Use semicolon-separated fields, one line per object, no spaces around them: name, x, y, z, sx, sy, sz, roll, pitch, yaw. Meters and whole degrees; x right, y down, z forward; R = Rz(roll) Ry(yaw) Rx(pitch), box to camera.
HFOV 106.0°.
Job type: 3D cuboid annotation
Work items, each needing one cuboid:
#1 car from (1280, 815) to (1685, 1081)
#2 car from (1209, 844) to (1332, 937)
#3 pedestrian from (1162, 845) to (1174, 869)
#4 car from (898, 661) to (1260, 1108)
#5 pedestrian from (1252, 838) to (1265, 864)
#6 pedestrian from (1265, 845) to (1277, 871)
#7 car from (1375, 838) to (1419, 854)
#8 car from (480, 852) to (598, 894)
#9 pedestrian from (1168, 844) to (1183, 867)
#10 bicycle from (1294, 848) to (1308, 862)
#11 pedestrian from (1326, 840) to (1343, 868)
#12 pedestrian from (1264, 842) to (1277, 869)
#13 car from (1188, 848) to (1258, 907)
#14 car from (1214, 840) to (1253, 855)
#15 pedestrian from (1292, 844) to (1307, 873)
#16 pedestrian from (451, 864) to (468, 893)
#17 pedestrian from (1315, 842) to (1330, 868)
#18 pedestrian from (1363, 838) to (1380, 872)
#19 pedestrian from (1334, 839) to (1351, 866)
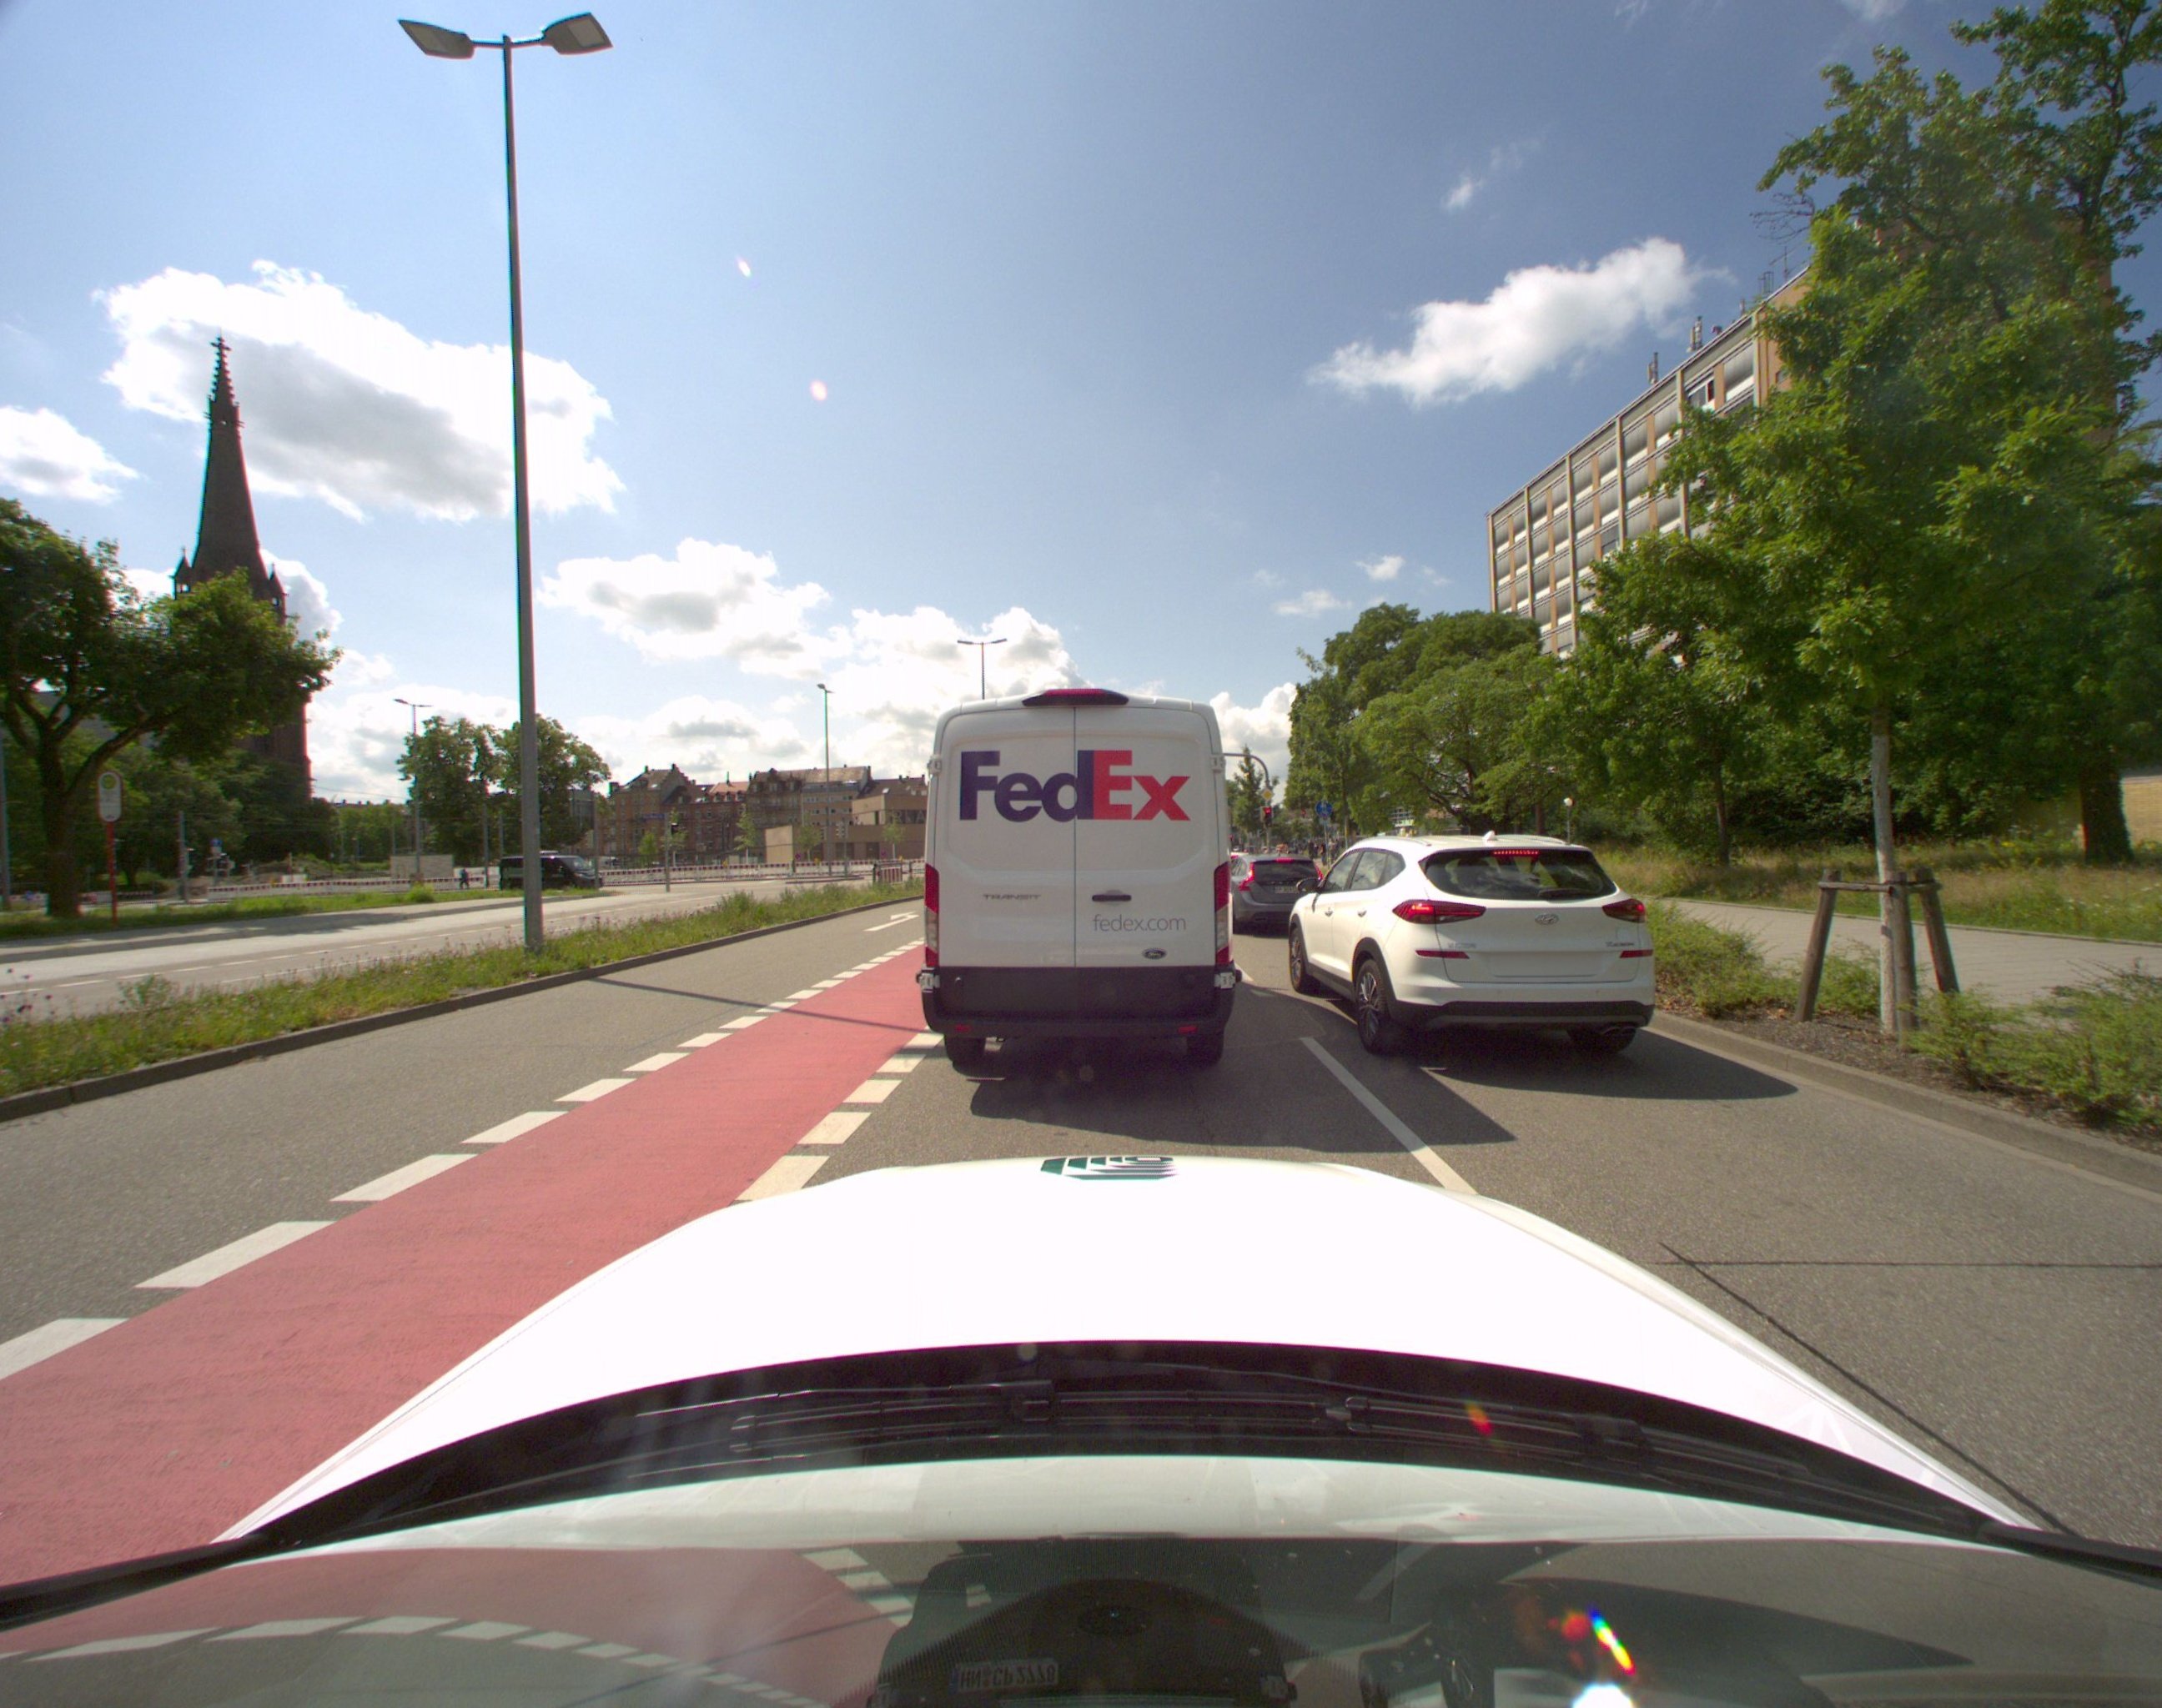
car;3.072;0.597;7.252;1.807;1.678;3.978;-2;0;3
car;3.549;0.617;15.861;1.684;1.549;3.724;-2;0;3
pedestrian;6.869;0.204;64.192;0.756;1.849;0.816;-2;0;-1
car;0.111;0.175;7.025;2.064;2.581;4.432;-2;0;3
pedestrian;13.001;-0.212;59.726;0.810;1.849;0.762;-2;0;5
pedestrian;13.712;0.310;58.884;0.753;1.849;0.820;-2;0;16
car;56.390;-1.420;145.255;7.063;2.717;2.487;0;-1;-11
car;-30.176;1.026;45.478;4.989;2.175;2.153;-2;0;-2
pedestrian;7.800;0.108;67.174;0.765;1.849;0.807;-2;0;-37
bicycle;25.404;0.140;93.884;1.414;1.464;4.330;-2;0;17
pedestrian;17.183;-0.012;55.279;0.758;1.849;0.814;-2;0;-8
pedestrian;13.149;0.099;56.540;0.752;1.849;0.820;-2;0;20
car;3.864;0.602;22.638;1.493;1.464;3.477;-2;0;3
car;28.646;-1.150;153.130;7.023;2.717;2.501;0;-1;7
pedestrian;13.949;0.294;52.002;0.752;1.849;0.820;-2;0;20
pedestrian;-43.722;1.718;57.280;0.644;2.013;0.632;-2;0;-1
pedestrian;15.745;0.052;53.102;0.755;1.655;0.817;-2;0;5
pedestrian;16.175;0.074;45.386;0.751;1.849;0.821;-2;0;27
pedestrian;17.893;-0.101;55.754;0.758;1.849;0.814;-2;0;-6
